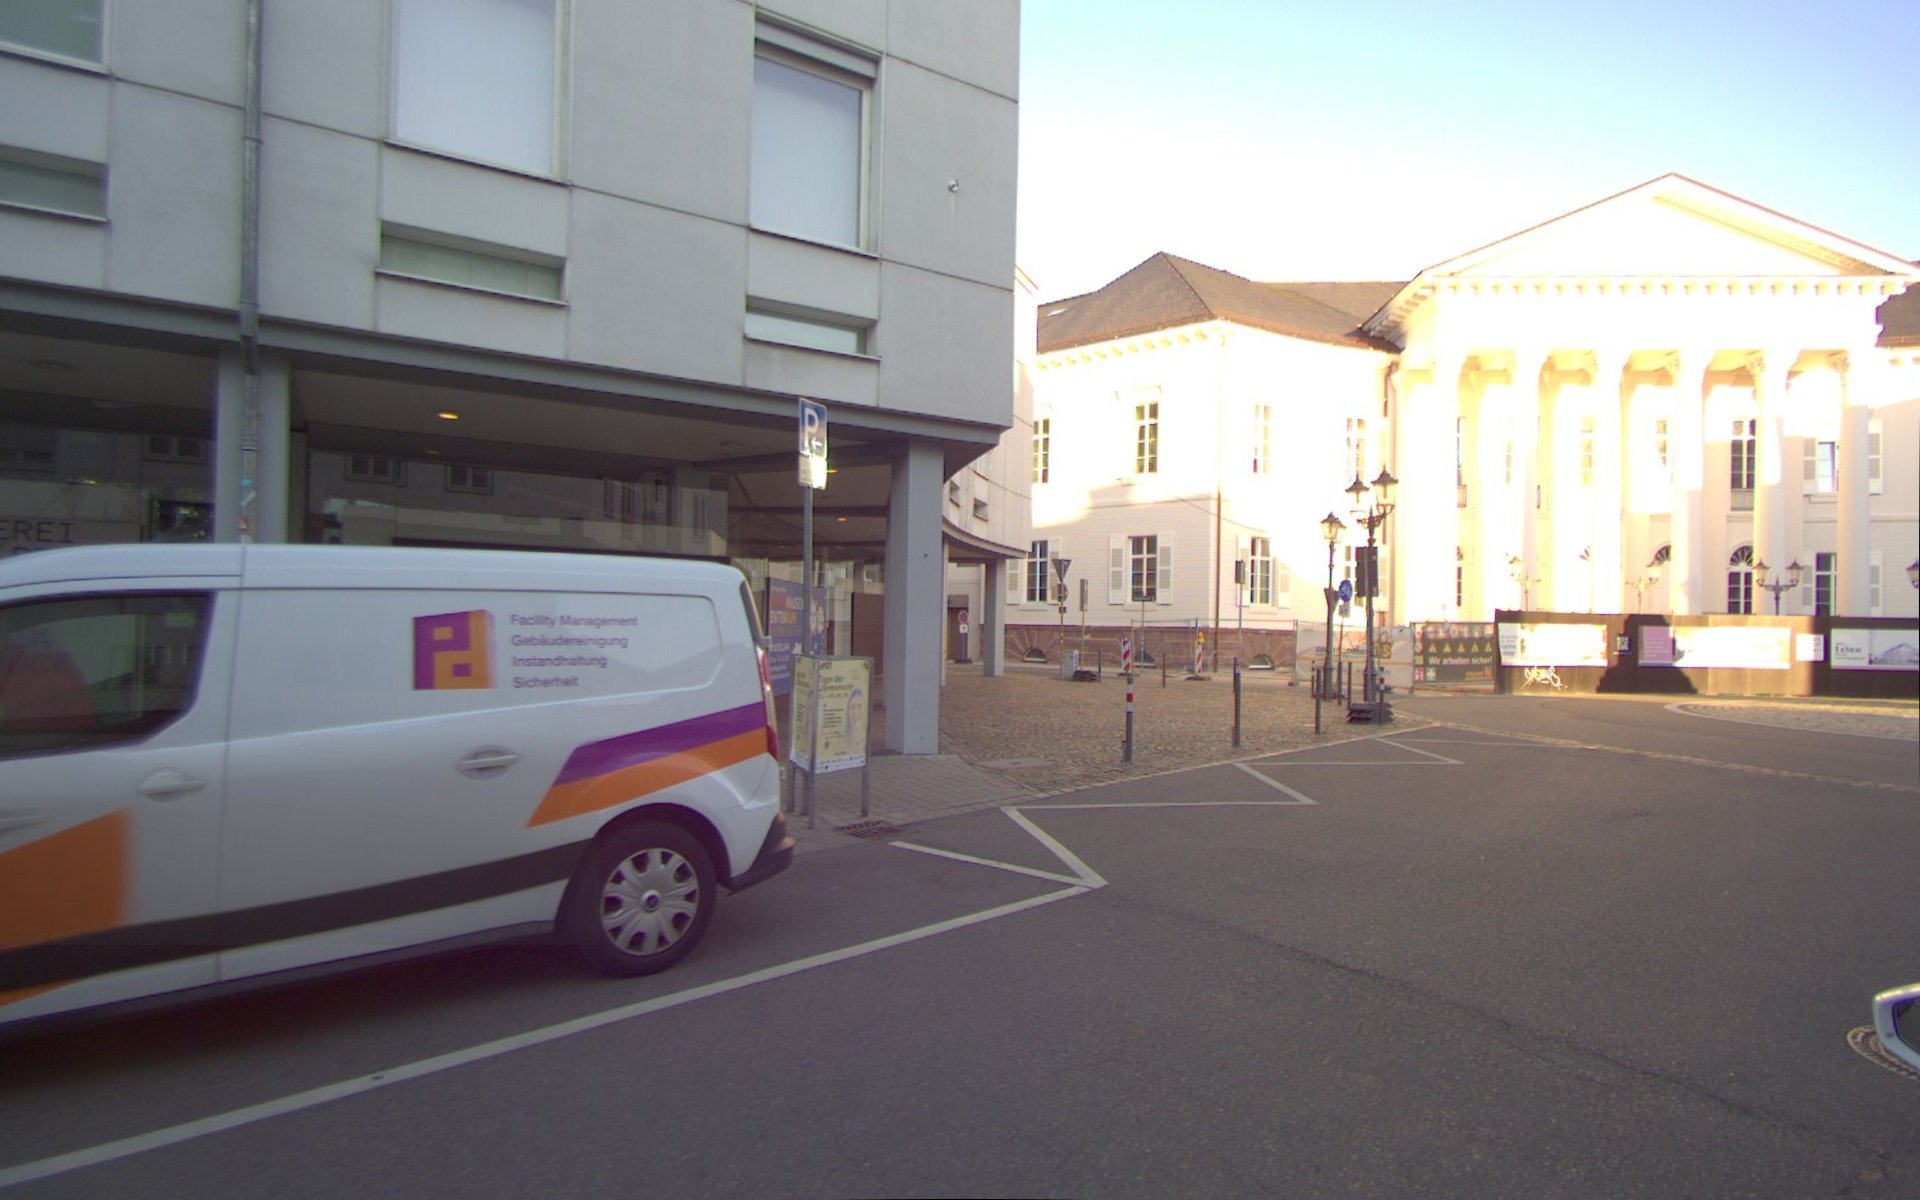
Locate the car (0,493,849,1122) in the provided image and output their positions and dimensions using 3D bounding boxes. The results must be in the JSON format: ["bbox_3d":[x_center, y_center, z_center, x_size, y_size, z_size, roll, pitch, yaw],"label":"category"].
[{"bbox_3d":[-2.996,0.624,4.051,4.742,1.840,1.978,2,-1,-39],"label":"car"}]
